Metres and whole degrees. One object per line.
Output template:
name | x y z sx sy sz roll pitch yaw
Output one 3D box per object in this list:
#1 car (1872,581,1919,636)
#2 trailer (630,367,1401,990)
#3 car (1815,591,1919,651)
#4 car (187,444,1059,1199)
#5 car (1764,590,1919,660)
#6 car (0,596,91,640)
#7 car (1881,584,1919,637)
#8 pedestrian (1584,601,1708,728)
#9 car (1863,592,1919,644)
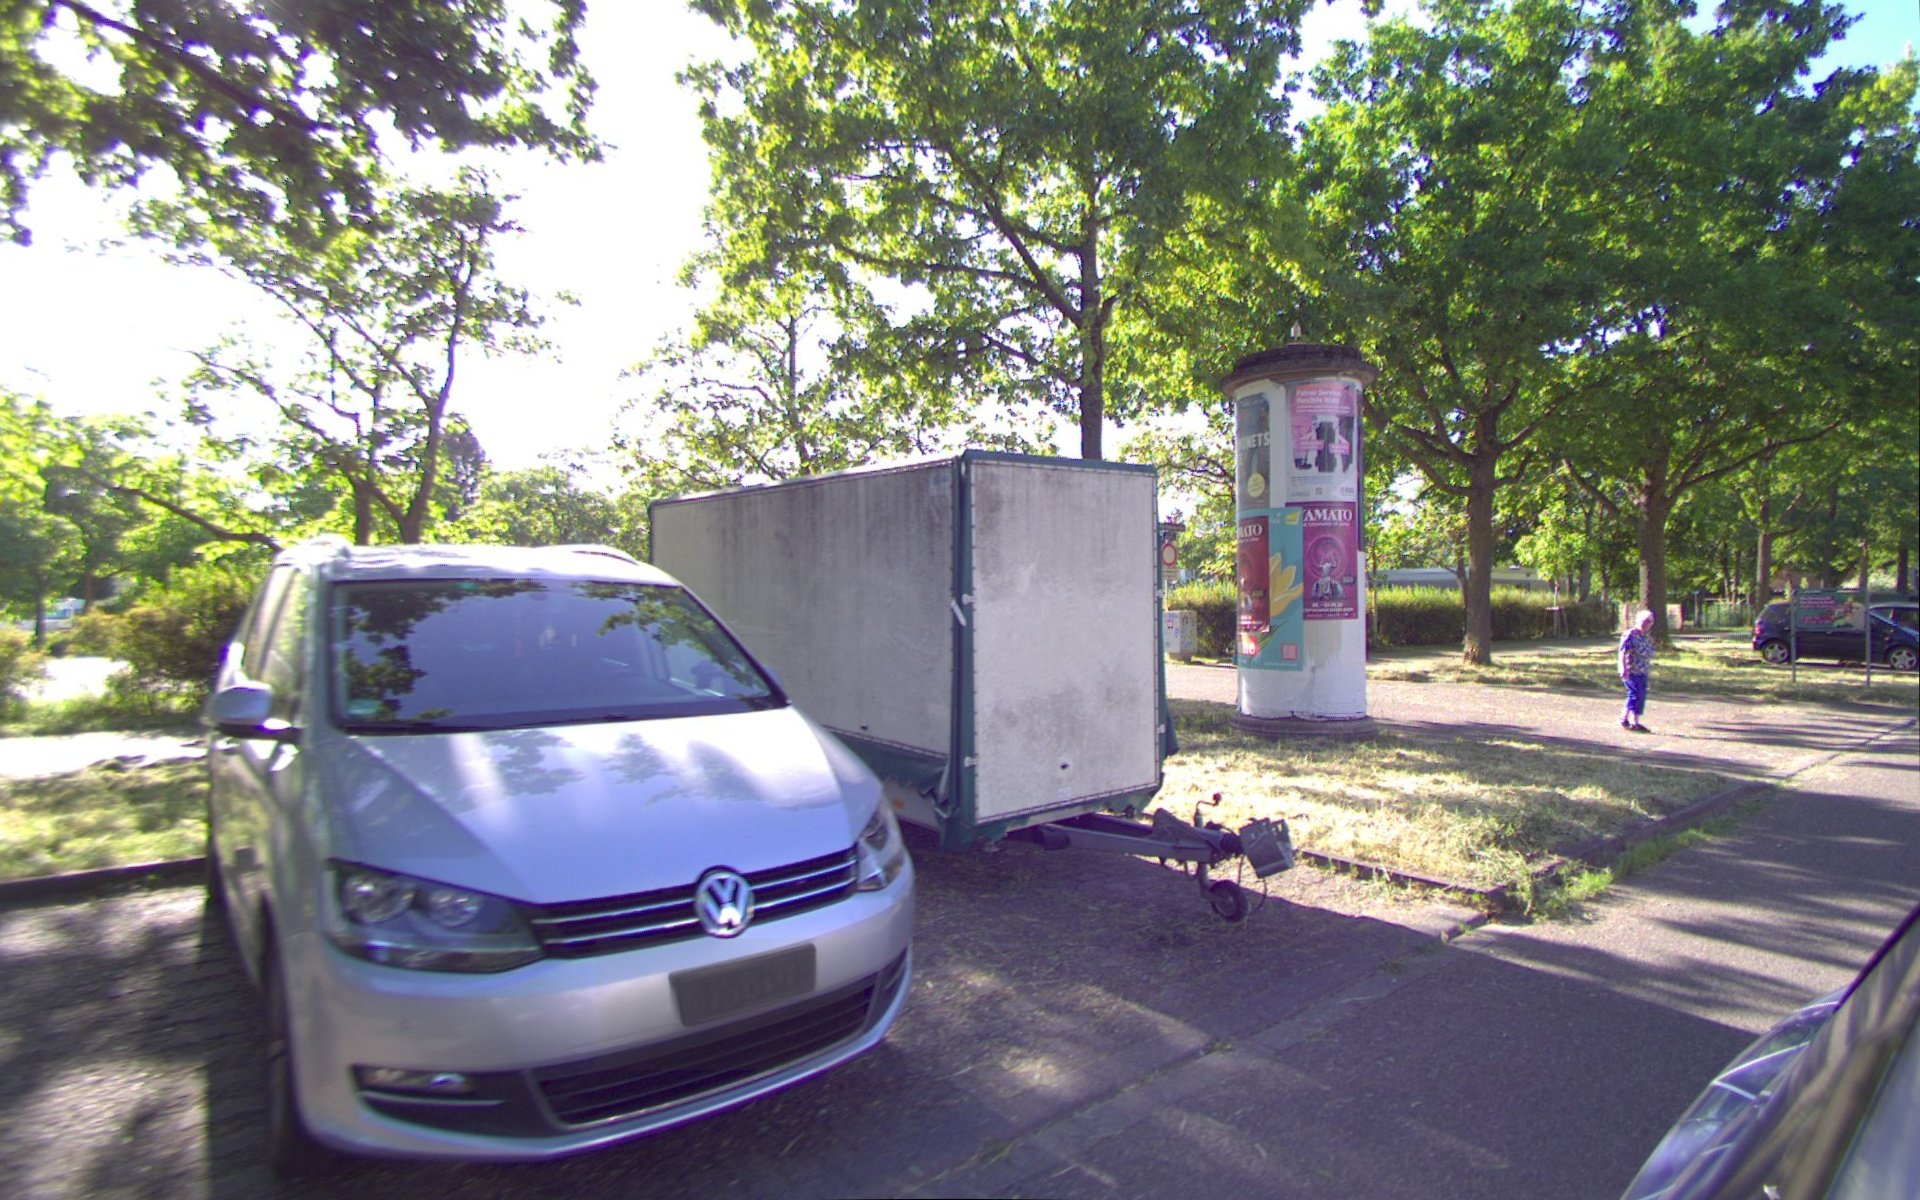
car | 37.150 0.335 37.492 1.910 2.057 4.812 0 0 -40
trailer | -0.321 0.229 6.620 1.655 2.346 5.790 0 1 -38
car | 26.169 0.564 27.987 1.754 1.596 3.593 0 1 -38
car | -1.920 0.548 4.214 1.952 1.744 4.653 0 1 -39
car | 22.342 0.569 25.012 1.825 1.596 3.590 0 1 -40
car | -59.728 1.172 65.117 5.355 2.644 2.351 -1 -1 -9
car | 35.475 0.383 35.905 1.769 1.860 4.014 0 1 -42
pedestrian | 8.601 0.780 12.721 0.867 1.519 0.945 1 0 -8
car | 29.901 0.549 30.677 1.635 1.551 3.530 0 1 -38
